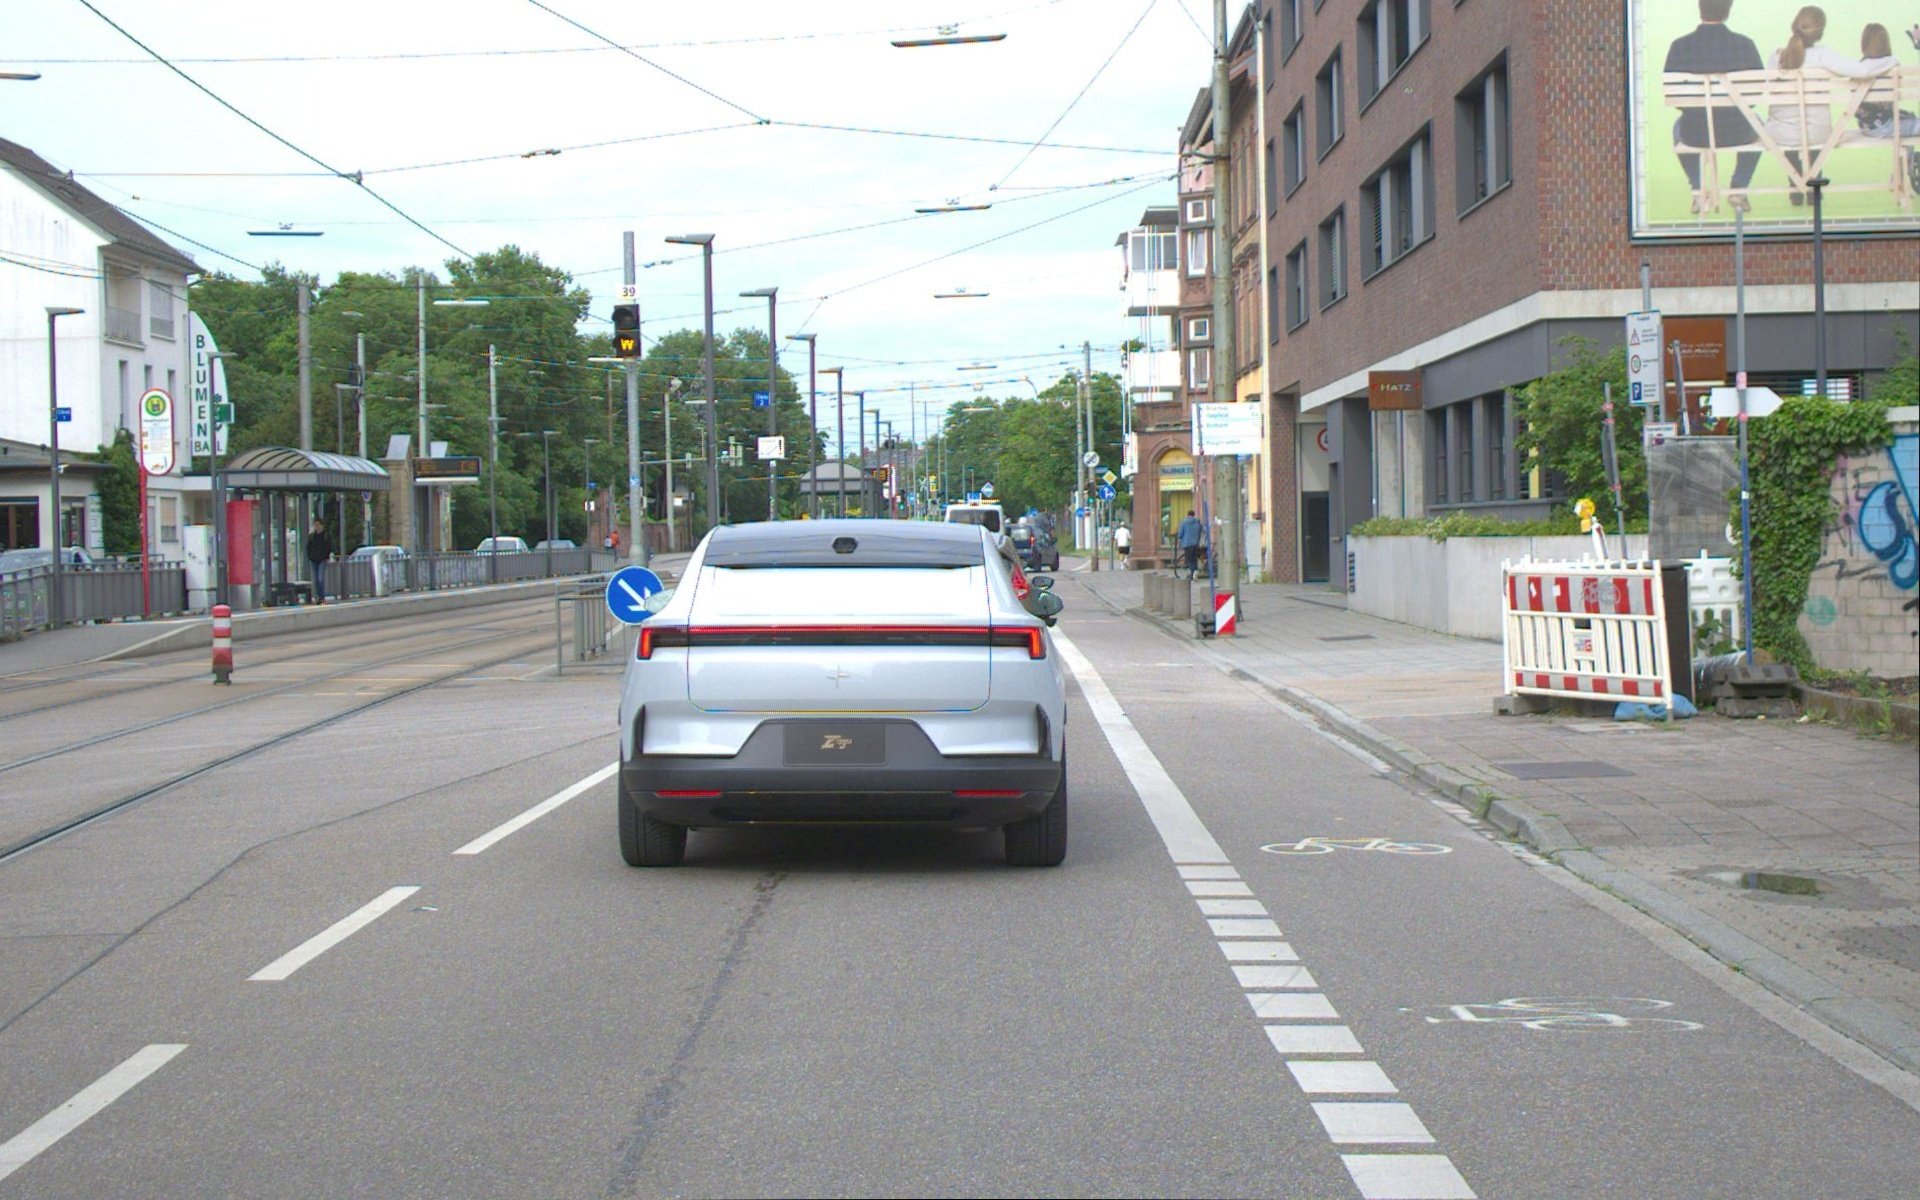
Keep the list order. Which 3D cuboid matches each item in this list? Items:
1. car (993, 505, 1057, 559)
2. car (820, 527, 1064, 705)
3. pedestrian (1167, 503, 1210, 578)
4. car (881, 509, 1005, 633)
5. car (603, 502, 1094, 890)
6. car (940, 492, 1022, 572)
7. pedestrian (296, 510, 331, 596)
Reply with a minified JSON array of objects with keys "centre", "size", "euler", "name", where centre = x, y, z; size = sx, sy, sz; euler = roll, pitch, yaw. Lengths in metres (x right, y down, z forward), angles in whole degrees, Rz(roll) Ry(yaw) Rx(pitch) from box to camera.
[{"centre":[2.480,-2.568,130.358],"size":[1.994,2.007,3.999],"euler":[0,1,7],"name":"car"},{"centre":[-0.169,0.090,30.604],"size":[1.993,1.415,4.000],"euler":[-2,1,-1],"name":"car"},{"centre":[5.855,-1.536,88.183],"size":[0.961,1.843,0.975],"euler":[-3,2,7],"name":"pedestrian"},{"centre":[-0.206,-0.424,48.508],"size":[1.681,1.681,3.824],"euler":[0,1,1],"name":"car"},{"centre":[-0.584,0.366,16.011],"size":[1.999,1.575,4.001],"euler":[0,1,-4],"name":"car"},{"centre":[0.626,-2.078,105.955],"size":[2.225,2.394,5.124],"euler":[0,1,-3],"name":"car"},{"centre":[-12.524,-0.918,66.620],"size":[0.615,1.659,0.697],"euler":[0,1,-7],"name":"pedestrian"}]
